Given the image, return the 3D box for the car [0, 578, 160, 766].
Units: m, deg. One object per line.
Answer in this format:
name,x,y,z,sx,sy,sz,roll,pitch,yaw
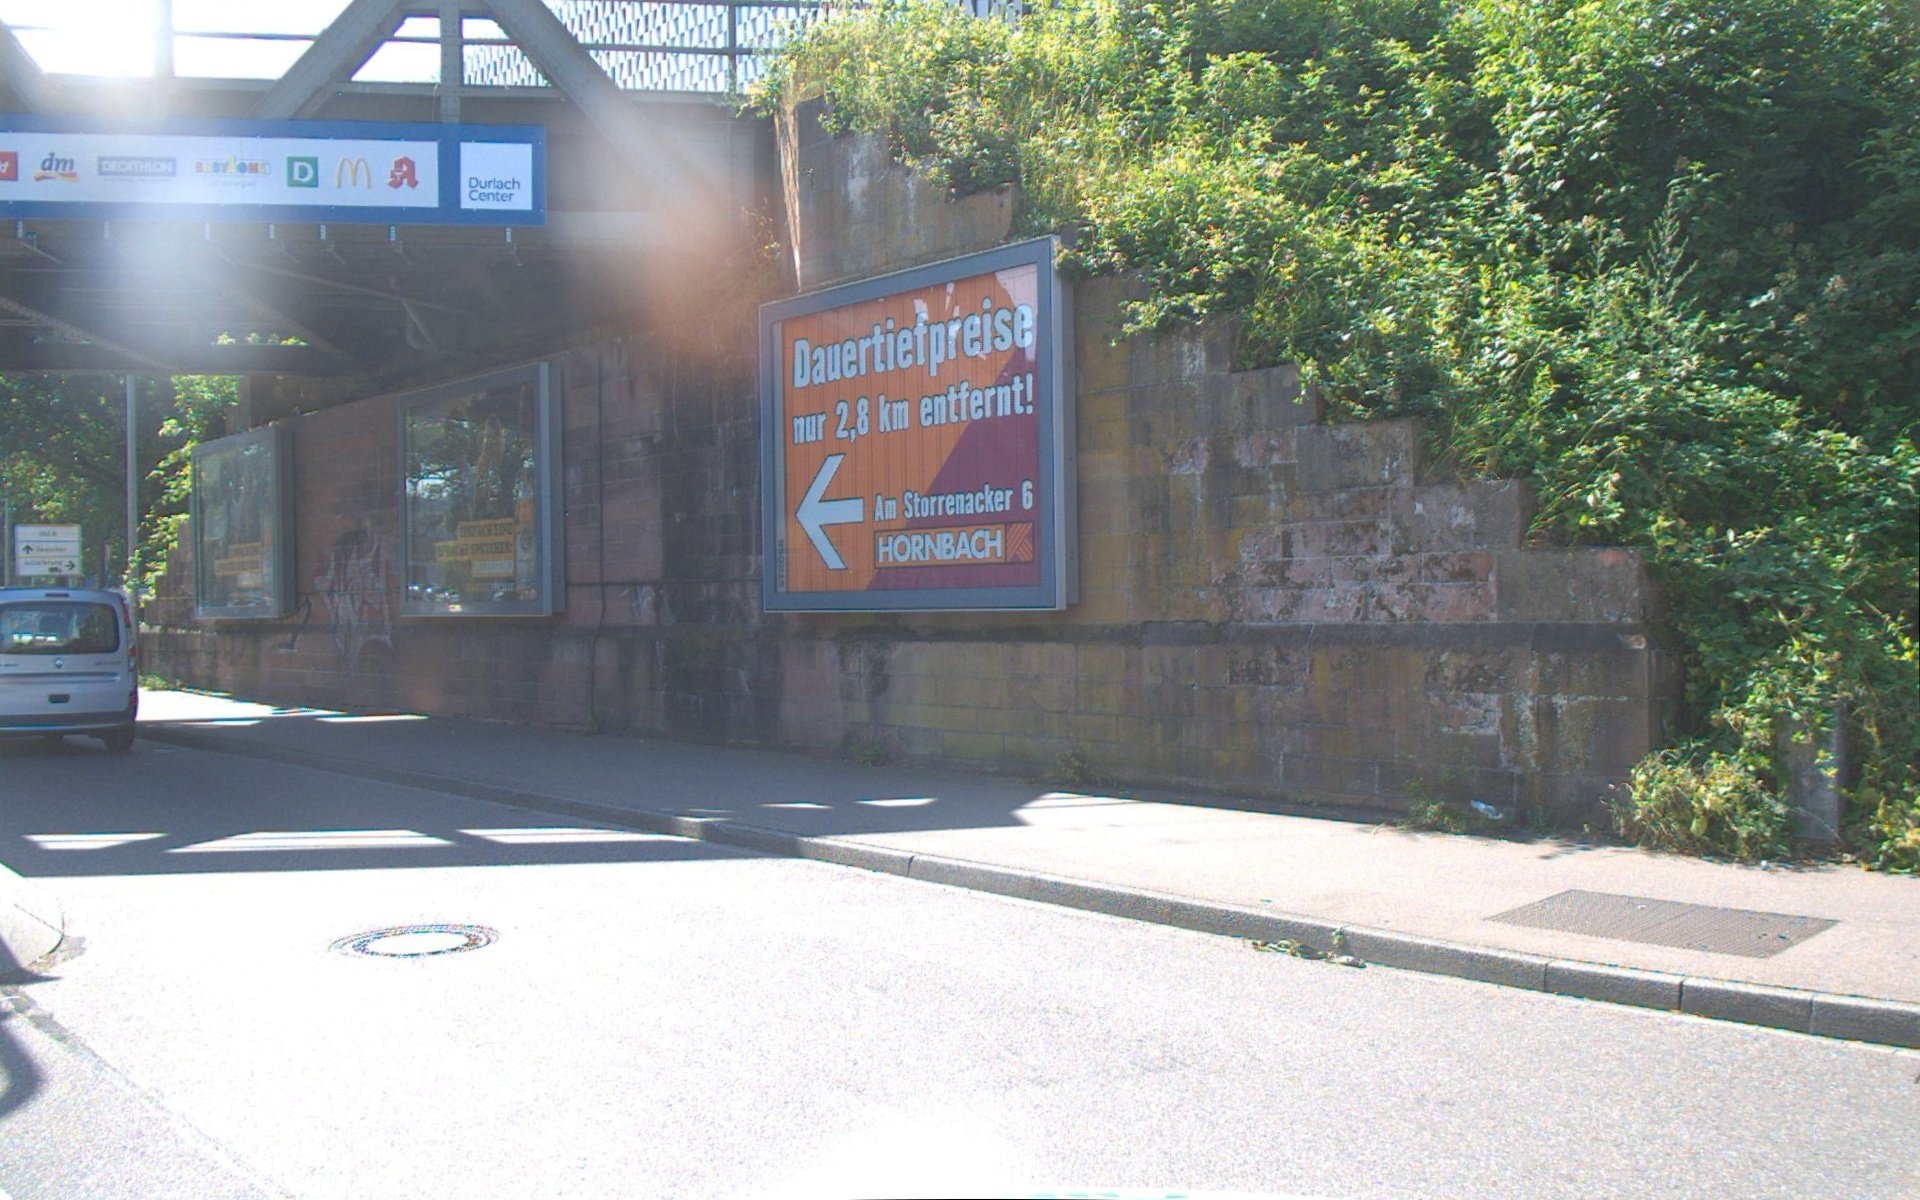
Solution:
car,-10.613,0.811,18.614,1.778,1.870,3.936,-2,-1,-43
